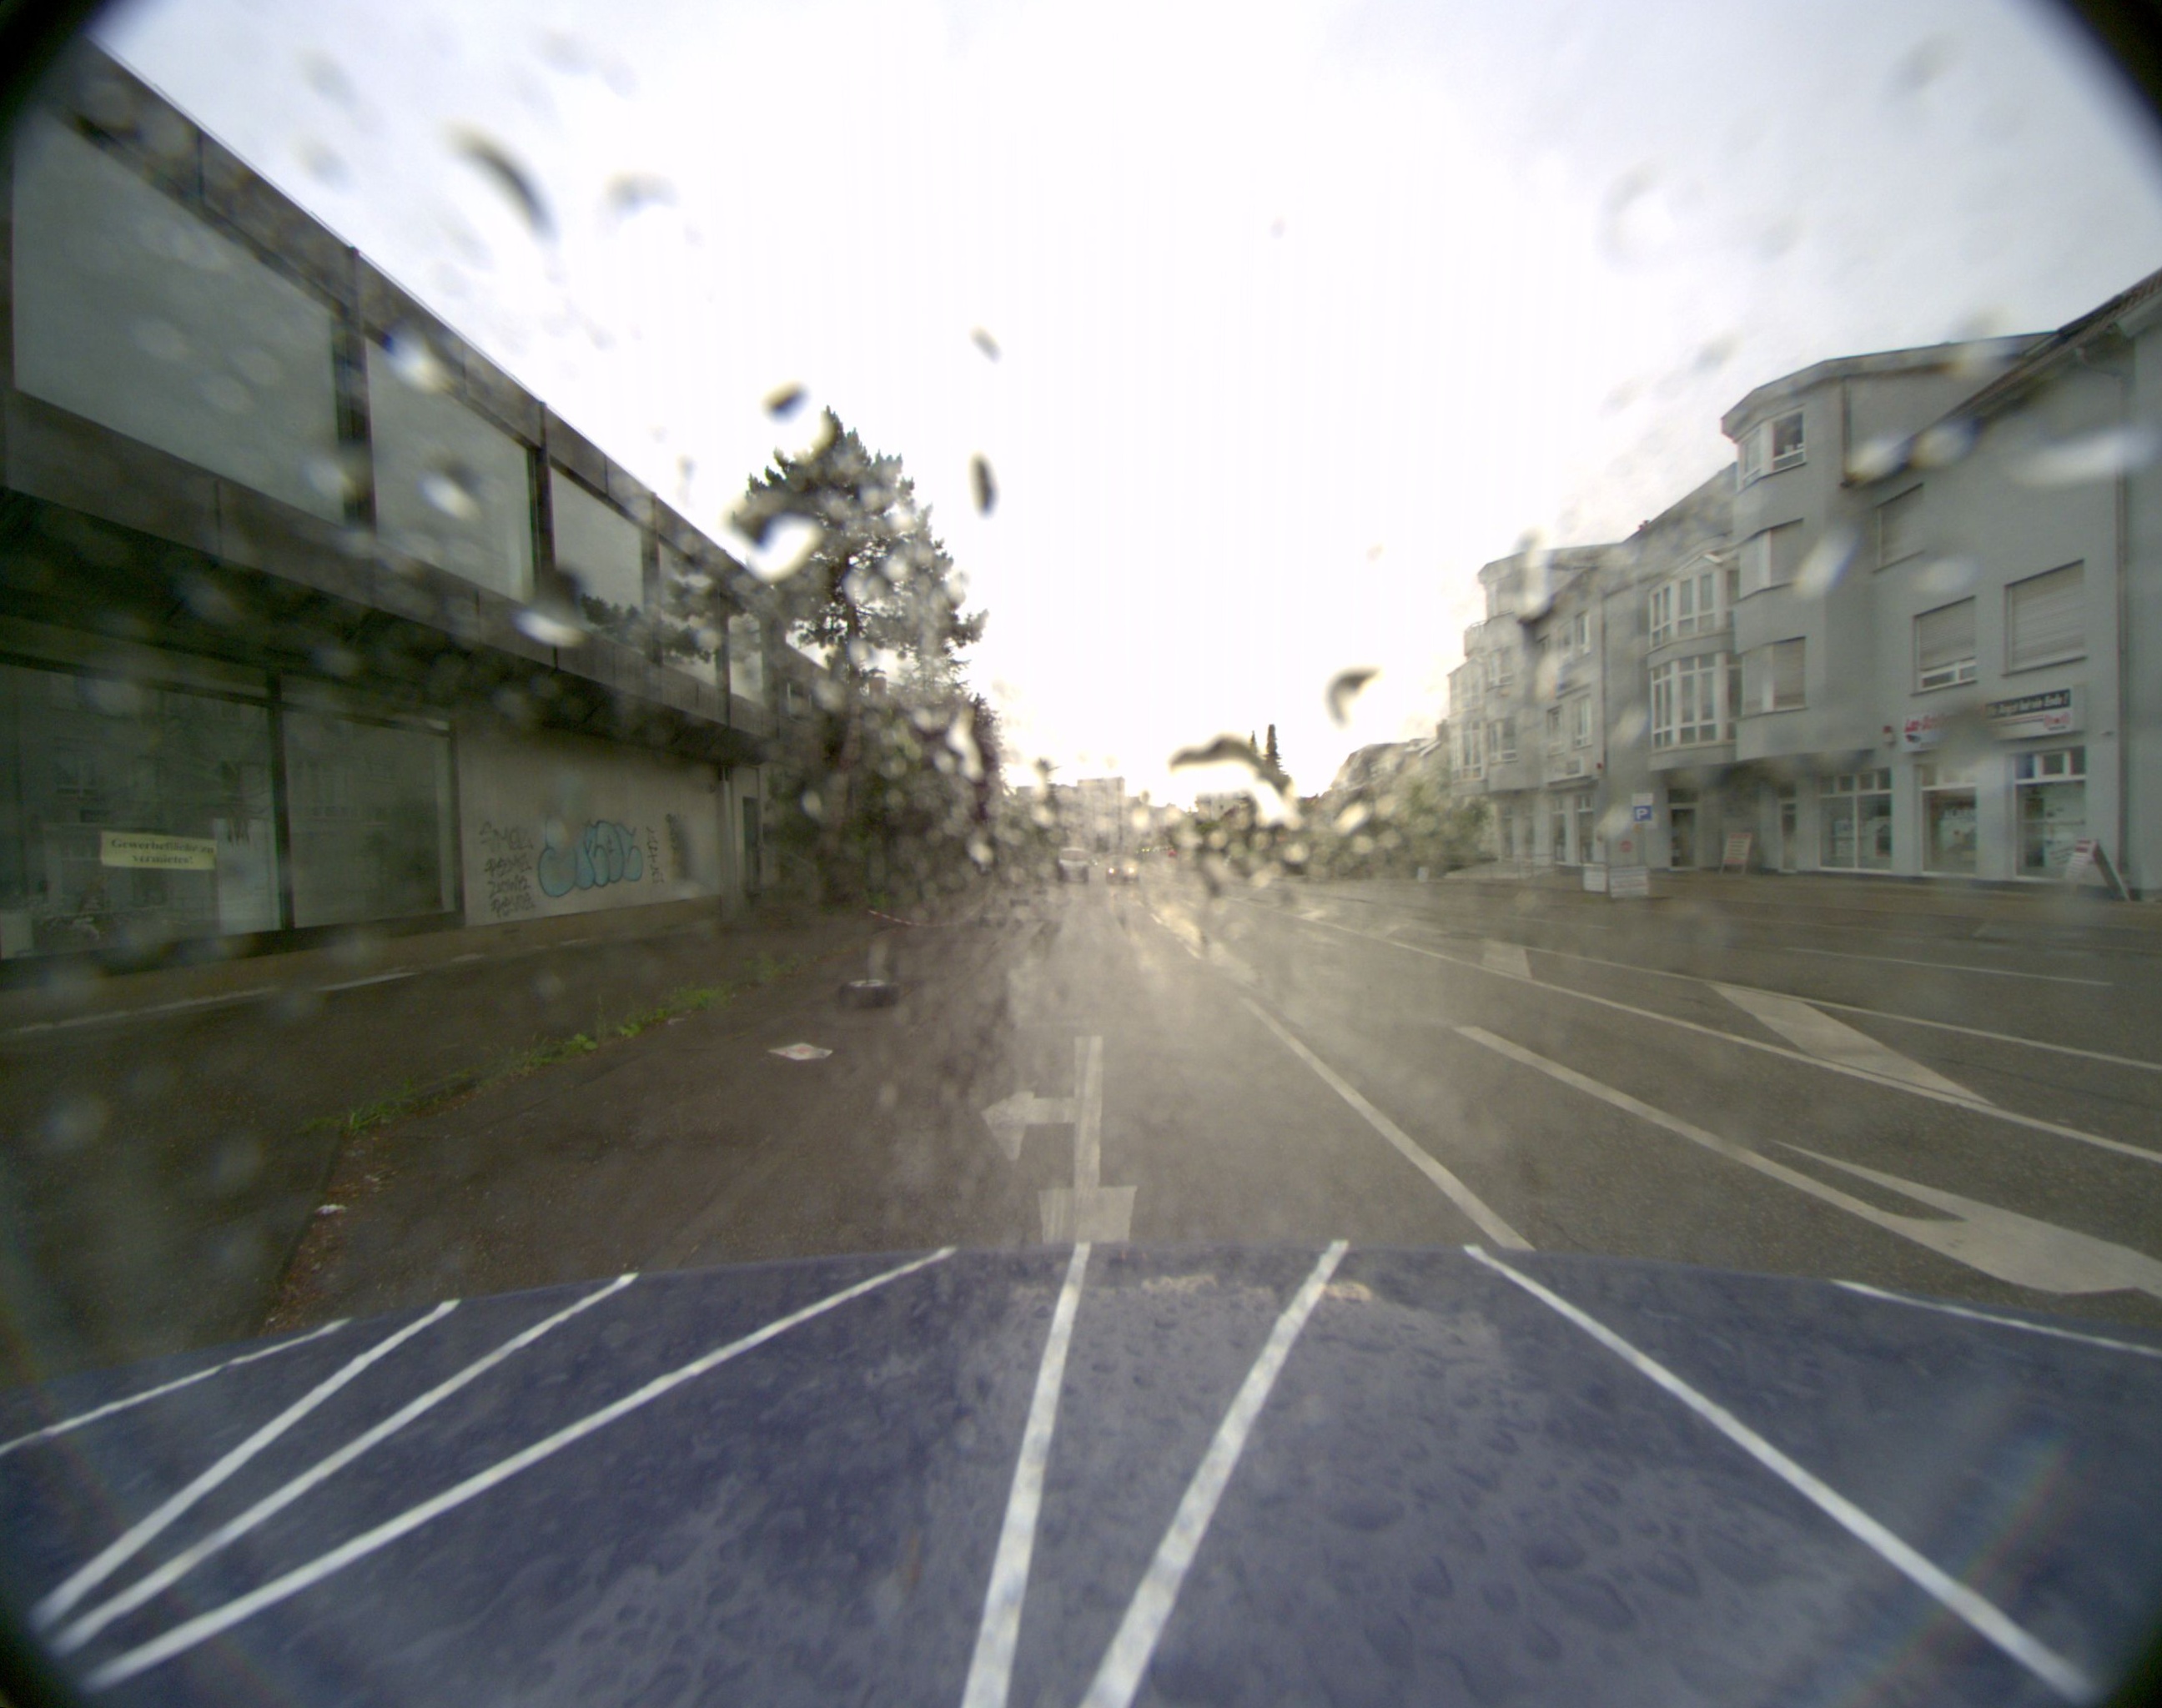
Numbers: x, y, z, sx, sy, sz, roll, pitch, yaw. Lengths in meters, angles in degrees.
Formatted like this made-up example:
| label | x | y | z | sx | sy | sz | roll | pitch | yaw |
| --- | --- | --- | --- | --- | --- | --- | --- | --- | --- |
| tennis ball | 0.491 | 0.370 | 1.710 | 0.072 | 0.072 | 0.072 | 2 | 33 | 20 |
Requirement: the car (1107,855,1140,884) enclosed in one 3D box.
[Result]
| label | x | y | z | sx | sy | sz | roll | pitch | yaw |
| --- | --- | --- | --- | --- | --- | --- | --- | --- | --- |
| car | 2.498 | 0.890 | 45.622 | 1.754 | 1.534 | 4.676 | -1 | 1 | 1 |

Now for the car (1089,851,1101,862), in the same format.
| label | x | y | z | sx | sy | sz | roll | pitch | yaw |
| --- | --- | --- | --- | --- | --- | --- | --- | --- | --- |
| car | 2.311 | 0.402 | 124.123 | 1.803 | 1.675 | 3.999 | -2 | 1 | 1 |

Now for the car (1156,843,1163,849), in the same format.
| label | x | y | z | sx | sy | sz | roll | pitch | yaw |
| --- | --- | --- | --- | --- | --- | --- | --- | --- | --- |
| car | 23.923 | -2.366 | 232.080 | 1.998 | 1.774 | 4.000 | -2 | 1 | 3 |

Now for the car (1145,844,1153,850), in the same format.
| label | x | y | z | sx | sy | sz | roll | pitch | yaw |
| --- | --- | --- | --- | --- | --- | --- | --- | --- | --- |
| car | 19.591 | -1.979 | 220.069 | 1.997 | 1.723 | 4.002 | -2 | 1 | 9 |

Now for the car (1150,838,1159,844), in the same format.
| label | x | y | z | sx | sy | sz | roll | pitch | yaw |
| --- | --- | --- | --- | --- | --- | --- | --- | --- | --- |
| car | 23.431 | -4.104 | 242.066 | 1.996 | 1.808 | 4.003 | -2 | 1 | 14 |

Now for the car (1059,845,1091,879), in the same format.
| label | x | y | z | sx | sy | sz | roll | pitch | yaw |
| --- | --- | --- | --- | --- | --- | --- | --- | --- | --- |
| car | -0.357 | 0.472 | 50.412 | 1.998 | 2.072 | 3.999 | -2 | 1 | 1 |
